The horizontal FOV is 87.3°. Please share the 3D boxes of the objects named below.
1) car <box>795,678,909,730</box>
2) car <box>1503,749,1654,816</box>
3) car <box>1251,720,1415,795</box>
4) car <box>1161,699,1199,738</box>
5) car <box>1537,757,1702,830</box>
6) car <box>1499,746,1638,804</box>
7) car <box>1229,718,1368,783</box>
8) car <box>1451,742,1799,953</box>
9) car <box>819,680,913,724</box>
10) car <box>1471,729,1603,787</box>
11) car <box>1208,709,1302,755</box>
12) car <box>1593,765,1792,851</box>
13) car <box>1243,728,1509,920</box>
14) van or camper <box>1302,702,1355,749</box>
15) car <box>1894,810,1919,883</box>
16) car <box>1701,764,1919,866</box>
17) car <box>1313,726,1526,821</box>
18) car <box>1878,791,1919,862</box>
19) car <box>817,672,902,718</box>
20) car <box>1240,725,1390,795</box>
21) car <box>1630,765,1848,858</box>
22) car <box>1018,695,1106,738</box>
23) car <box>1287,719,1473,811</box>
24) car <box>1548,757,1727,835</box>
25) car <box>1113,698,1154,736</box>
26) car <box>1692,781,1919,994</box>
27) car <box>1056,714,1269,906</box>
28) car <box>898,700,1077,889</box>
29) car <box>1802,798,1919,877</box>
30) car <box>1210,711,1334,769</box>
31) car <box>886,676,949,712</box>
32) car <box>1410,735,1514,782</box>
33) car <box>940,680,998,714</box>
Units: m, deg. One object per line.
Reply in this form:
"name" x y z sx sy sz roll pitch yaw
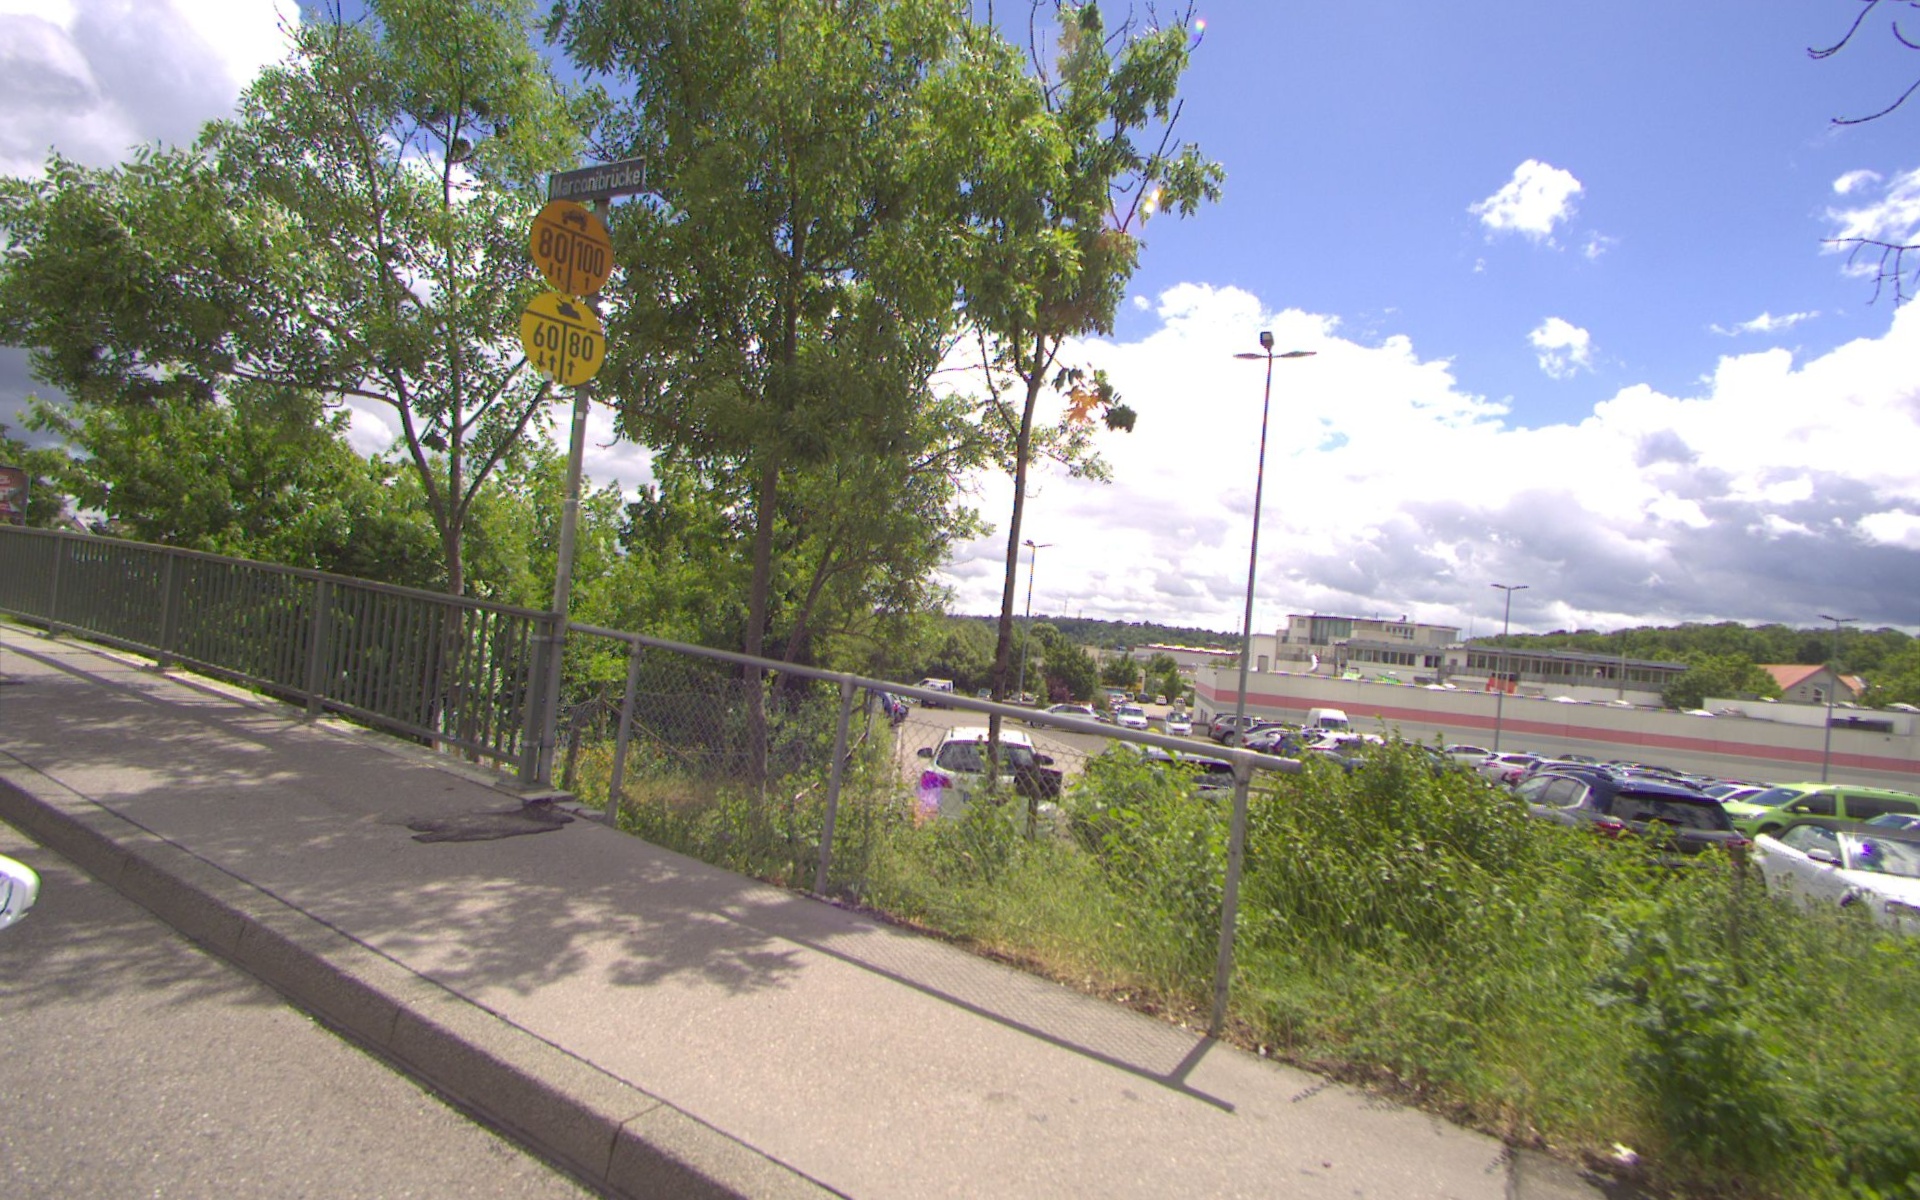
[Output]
"car" -4.126 4.027 38.976 3.924 1.523 2.005 6 -5 5
"car" 23.879 7.027 38.984 4.472 1.725 1.911 6 0 6
"car" 11.039 4.652 30.052 4.116 1.482 1.911 6 0 6
"car" 12.376 6.614 56.558 1.874 1.580 4.450 6 -1 13
"car" 23.734 6.950 36.333 4.472 1.725 1.911 6 0 6
"car" 24.897 7.156 41.308 4.359 1.676 2.005 6 -5 8
"car" 11.593 5.155 34.700 4.116 1.482 1.911 6 0 6
"car" 8.205 2.955 12.996 1.836 1.688 4.357 6 -3 6
"car" -4.366 4.753 46.996 3.924 1.523 2.005 6 -5 5
"car" 25.178 6.881 44.034 4.472 1.725 1.911 6 0 6
"car" 15.697 7.022 53.708 4.363 1.649 1.909 6 3 6
"car" 22.528 6.385 31.108 4.472 1.725 1.911 6 0 6
"car" 5.429 2.869 13.825 1.837 1.688 4.356 6 -3 2
"van or camper" 23.946 8.122 65.474 1.891 2.719 5.318 6 -5 8
"car" 21.441 5.217 19.941 3.923 1.405 1.726 6 -5 12
"car" 22.114 5.514 25.893 4.559 1.894 1.726 6 -4 6
"car" 10.855 4.093 24.038 4.116 1.482 1.911 6 0 6
"car" 28.338 6.486 27.515 4.359 1.804 2.005 6 -5 8
"car" -5.218 4.958 52.426 3.924 1.923 2.005 6 -5 5
"car" 11.382 5.141 32.494 4.116 1.482 1.911 6 0 6
"car" 22.183 6.012 28.805 4.472 1.725 1.911 6 0 6
"car" 5.380 6.140 53.095 4.363 1.580 1.911 6 0 6
"car" 11.225 4.395 27.157 4.116 1.690 1.911 6 0 6
"car" 22.584 6.516 33.704 4.472 1.725 1.911 6 0 6
"car" 9.827 6.546 56.717 1.874 1.580 4.450 6 -1 13
"car" 10.988 3.364 12.061 1.836 1.688 4.357 6 -3 12
"car" 2.495 2.610 13.528 1.837 1.688 4.355 6 -3 0
"car" 0.310 2.393 13.431 1.837 1.688 4.355 6 -3 0
"car" 21.915 5.543 22.800 3.923 1.405 1.726 6 -5 12
"car" 11.820 5.312 38.334 4.116 1.482 1.911 6 0 6
"car" -2.869 6.439 68.712 3.924 1.923 2.005 6 -5 5
"car" 26.955 8.526 54.164 4.472 1.725 1.911 6 0 6
"car" 0.688 7.051 73.033 3.924 1.923 2.005 6 -5 5
